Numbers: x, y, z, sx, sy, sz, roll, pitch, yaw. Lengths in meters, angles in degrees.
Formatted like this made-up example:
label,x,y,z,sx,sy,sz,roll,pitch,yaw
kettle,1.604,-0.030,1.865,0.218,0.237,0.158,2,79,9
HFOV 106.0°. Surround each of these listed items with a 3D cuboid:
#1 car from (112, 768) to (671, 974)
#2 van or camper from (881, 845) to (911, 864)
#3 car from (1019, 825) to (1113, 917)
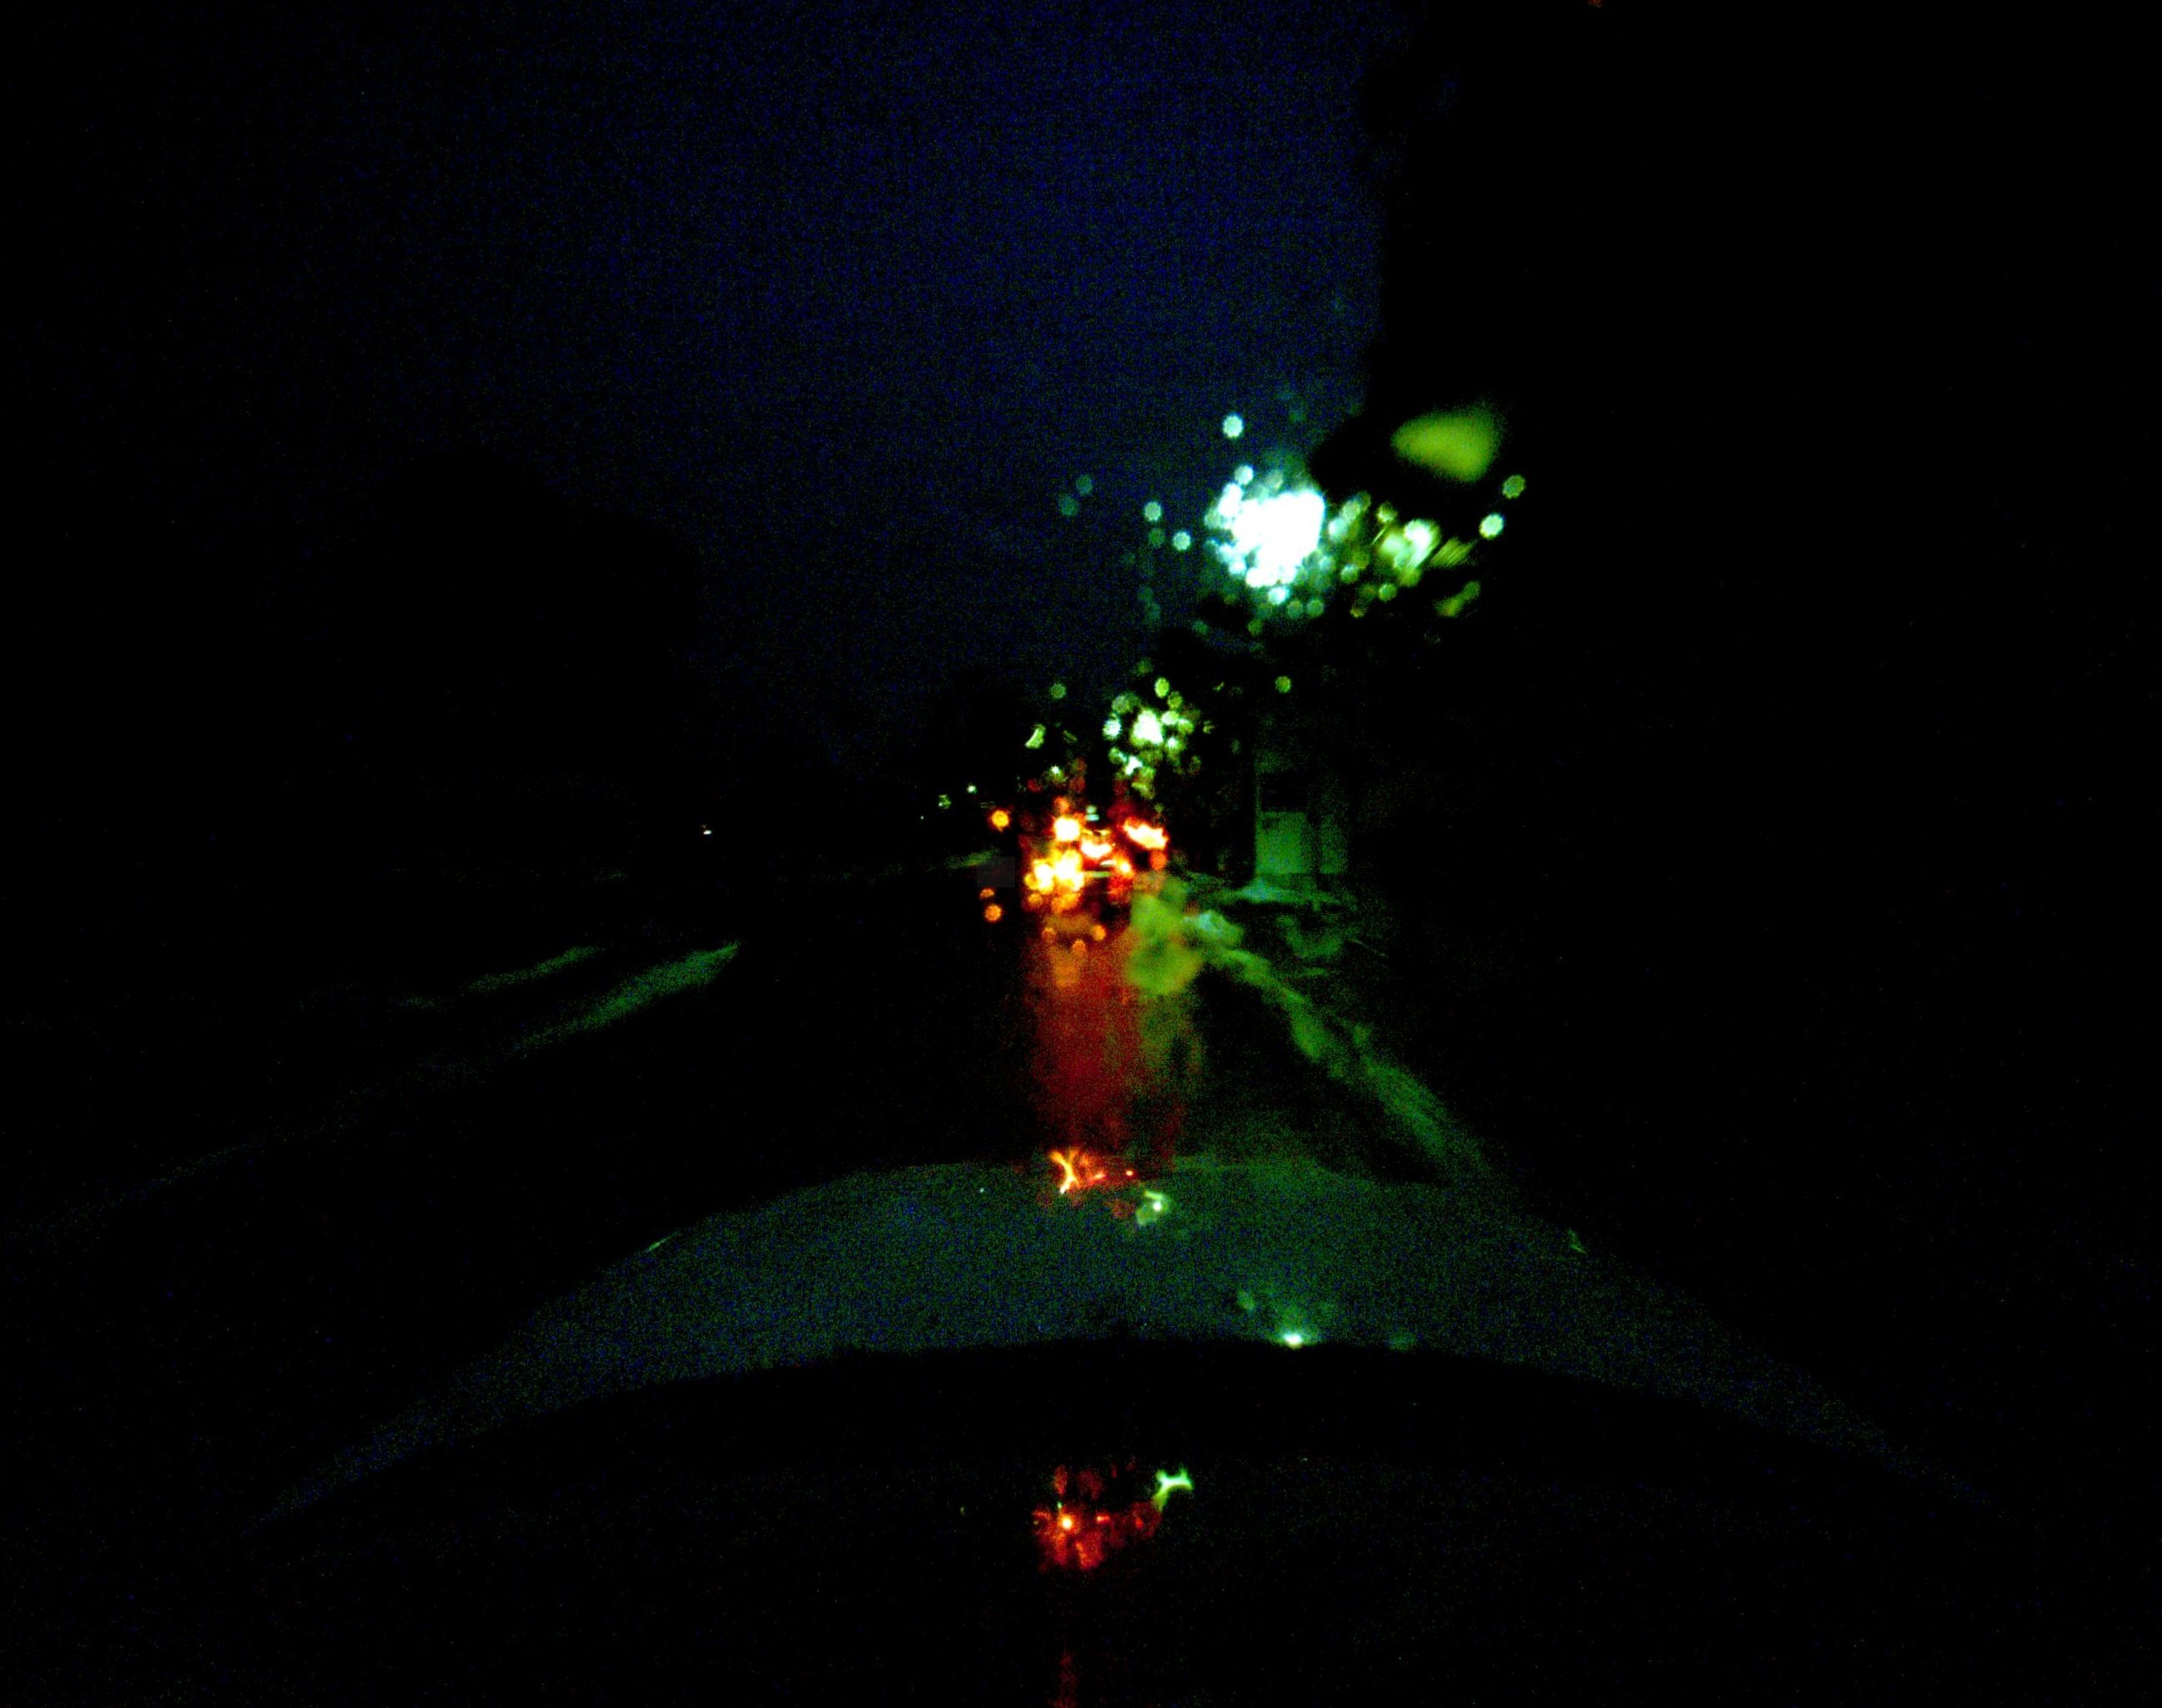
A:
label,x,y,z,sx,sy,sz,roll,pitch,yaw
car,-9.798,0.143,12.480,6.134,2.553,1.981,-2,-1,-30
van or camper,-11.937,0.050,52.505,1.289,1.101,3.246,0,-1,-24
car,-0.271,0.317,18.249,1.816,1.796,3.578,-2,1,1
